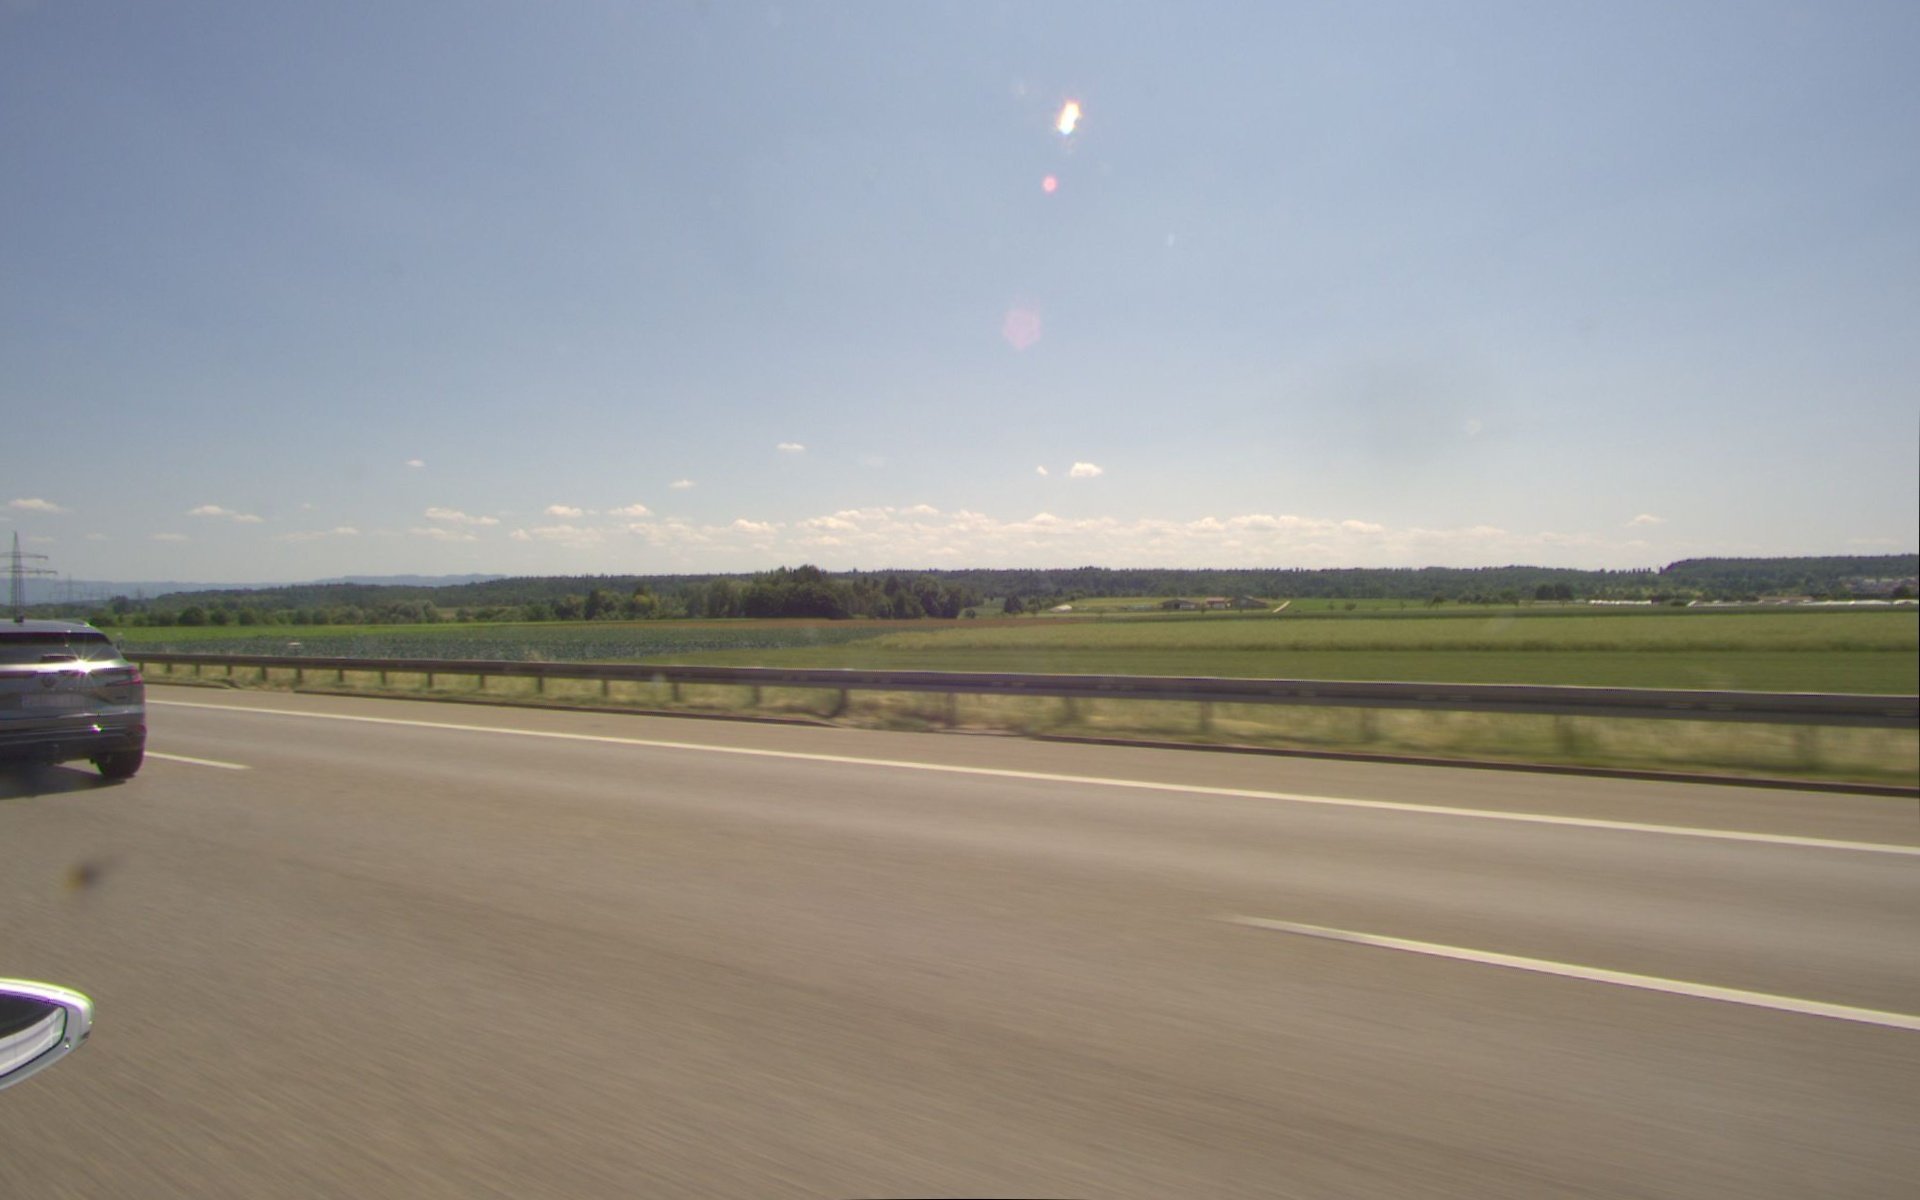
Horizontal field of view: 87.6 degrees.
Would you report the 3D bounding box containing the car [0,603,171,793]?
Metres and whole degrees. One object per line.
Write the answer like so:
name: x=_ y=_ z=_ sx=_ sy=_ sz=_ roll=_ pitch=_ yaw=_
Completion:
car: x=-10.175 y=0.899 z=10.355 sx=4.580 sy=1.670 sz=1.847 roll=-1 pitch=-1 yaw=34
